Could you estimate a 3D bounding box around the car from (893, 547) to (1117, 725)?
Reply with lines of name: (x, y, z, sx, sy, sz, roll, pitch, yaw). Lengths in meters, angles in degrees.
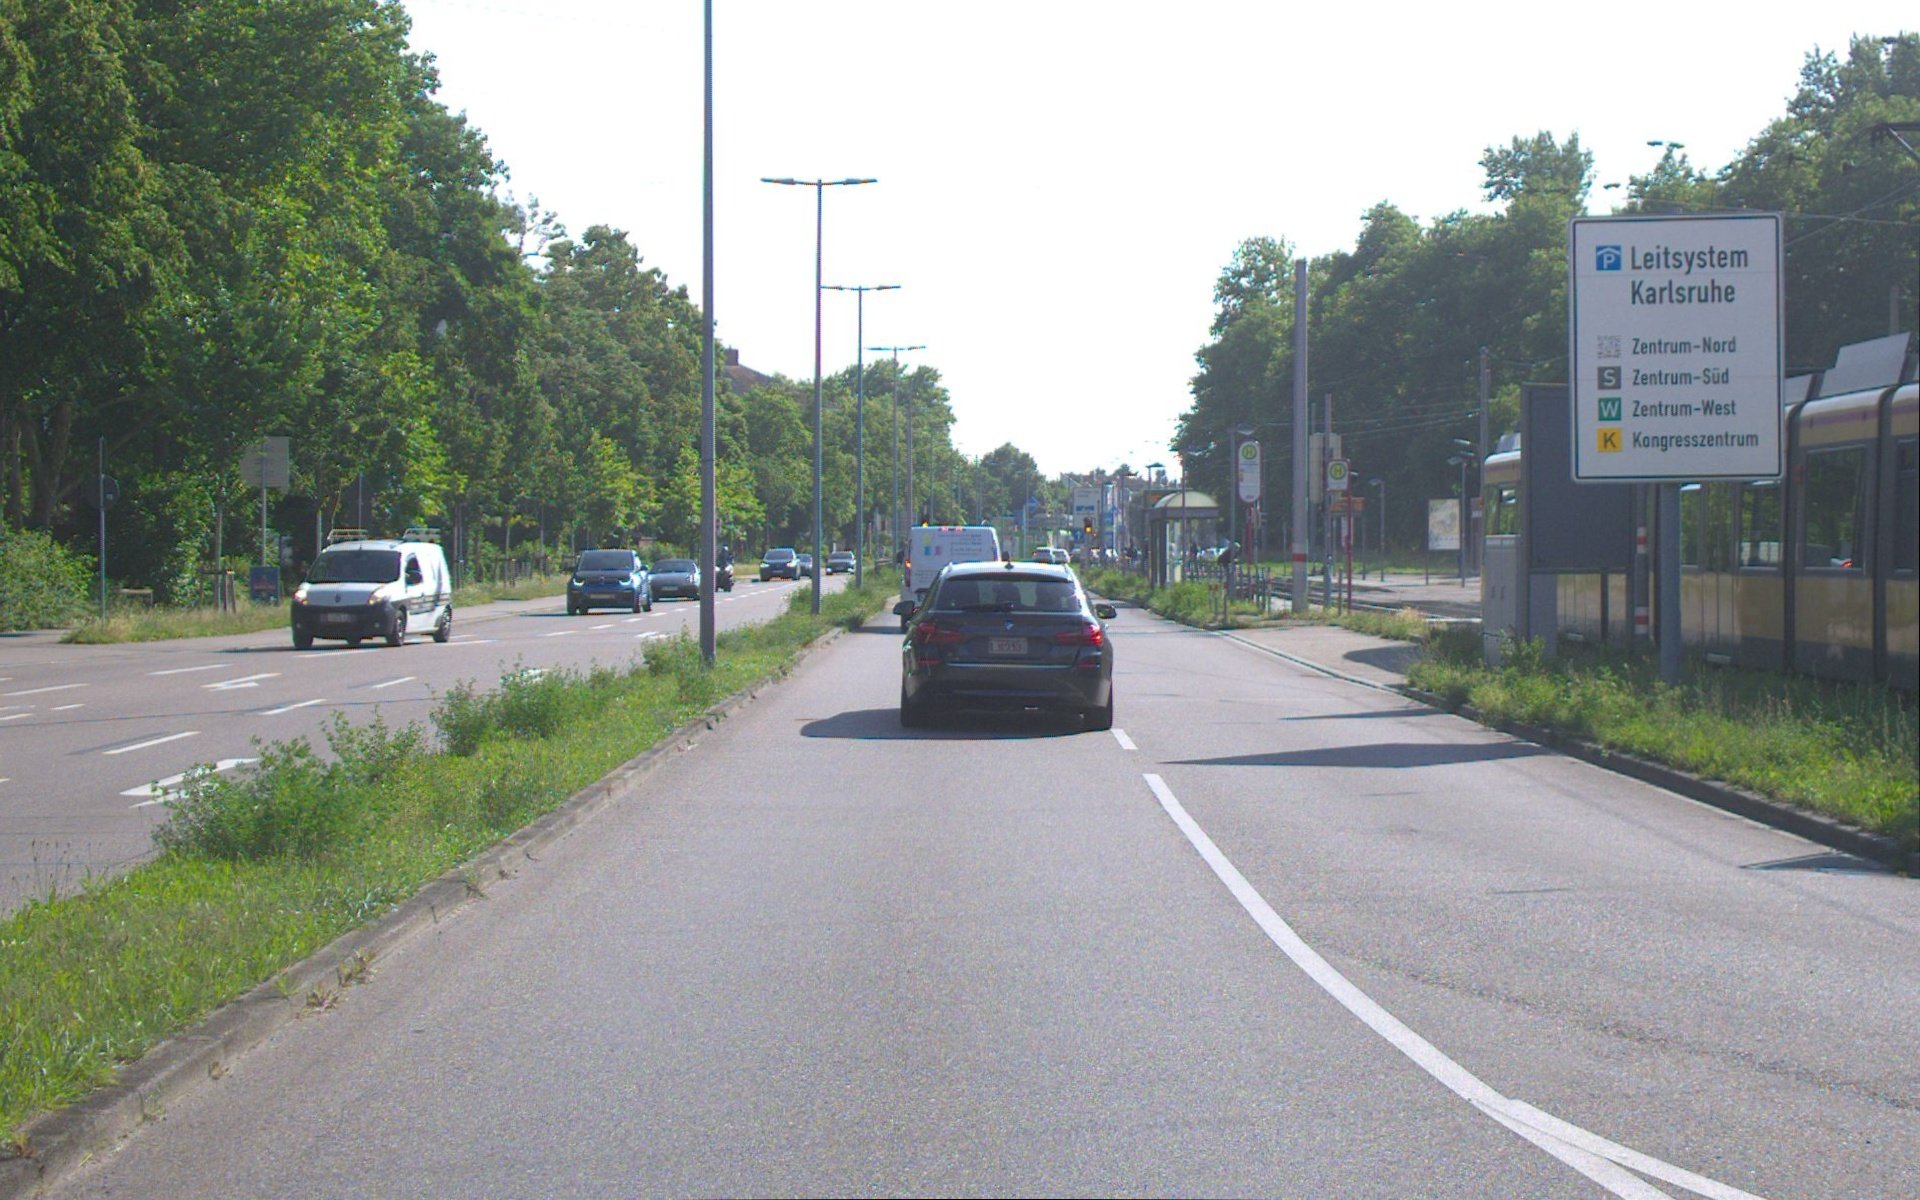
car: (0.435, 0.274, 31.260, 1.903, 1.500, 4.065, 0, 1, 1)

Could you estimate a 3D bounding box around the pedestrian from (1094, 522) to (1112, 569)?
pedestrian: (6.130, -2.346, 147.276, 0.698, 2.007, 0.702, 0, 1, 0)

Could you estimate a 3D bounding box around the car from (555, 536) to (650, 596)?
car: (-8.830, -0.864, 85.303, 1.789, 1.410, 4.386, 0, 1, 2)

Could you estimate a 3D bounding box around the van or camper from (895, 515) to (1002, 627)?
van or camper: (-0.199, -0.586, 66.613, 1.993, 2.089, 4.598, 0, 1, 0)

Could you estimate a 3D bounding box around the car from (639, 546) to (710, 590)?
car: (-8.846, -1.007, 106.694, 1.788, 1.323, 4.737, 0, 1, 0)

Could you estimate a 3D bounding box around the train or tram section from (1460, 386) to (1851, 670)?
train or tram section: (9.681, -0.958, 49.947, 2.685, 3.469, 14.969, 1, 1, 0)

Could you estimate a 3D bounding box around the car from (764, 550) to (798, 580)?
car: (-9.047, -1.766, 173.668, 1.533, 1.481, 4.000, 0, 1, 0)

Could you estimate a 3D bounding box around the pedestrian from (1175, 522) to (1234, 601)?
pedestrian: (5.107, -0.803, 71.730, 1.000, 1.629, 0.720, 1, 2, 34)

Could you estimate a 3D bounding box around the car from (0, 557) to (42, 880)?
car: (-5.367, 0.605, 14.071, 1.848, 1.472, 4.646, -2, 1, 1)

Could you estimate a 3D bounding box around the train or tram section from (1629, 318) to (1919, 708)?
train or tram section: (9.644, -0.829, 36.862, 2.750, 3.542, 11.257, 1, 1, 0)

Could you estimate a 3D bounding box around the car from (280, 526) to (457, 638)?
car: (-9.781, -0.342, 57.172, 1.789, 1.766, 4.569, -1, 1, 5)

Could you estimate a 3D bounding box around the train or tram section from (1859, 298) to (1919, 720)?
train or tram section: (9.651, -0.721, 24.791, 2.796, 3.606, 12.956, 1, 1, 0)

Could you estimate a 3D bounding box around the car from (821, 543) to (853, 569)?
car: (-7.580, -2.742, 212.344, 1.849, 1.546, 4.000, 0, 1, 0)
